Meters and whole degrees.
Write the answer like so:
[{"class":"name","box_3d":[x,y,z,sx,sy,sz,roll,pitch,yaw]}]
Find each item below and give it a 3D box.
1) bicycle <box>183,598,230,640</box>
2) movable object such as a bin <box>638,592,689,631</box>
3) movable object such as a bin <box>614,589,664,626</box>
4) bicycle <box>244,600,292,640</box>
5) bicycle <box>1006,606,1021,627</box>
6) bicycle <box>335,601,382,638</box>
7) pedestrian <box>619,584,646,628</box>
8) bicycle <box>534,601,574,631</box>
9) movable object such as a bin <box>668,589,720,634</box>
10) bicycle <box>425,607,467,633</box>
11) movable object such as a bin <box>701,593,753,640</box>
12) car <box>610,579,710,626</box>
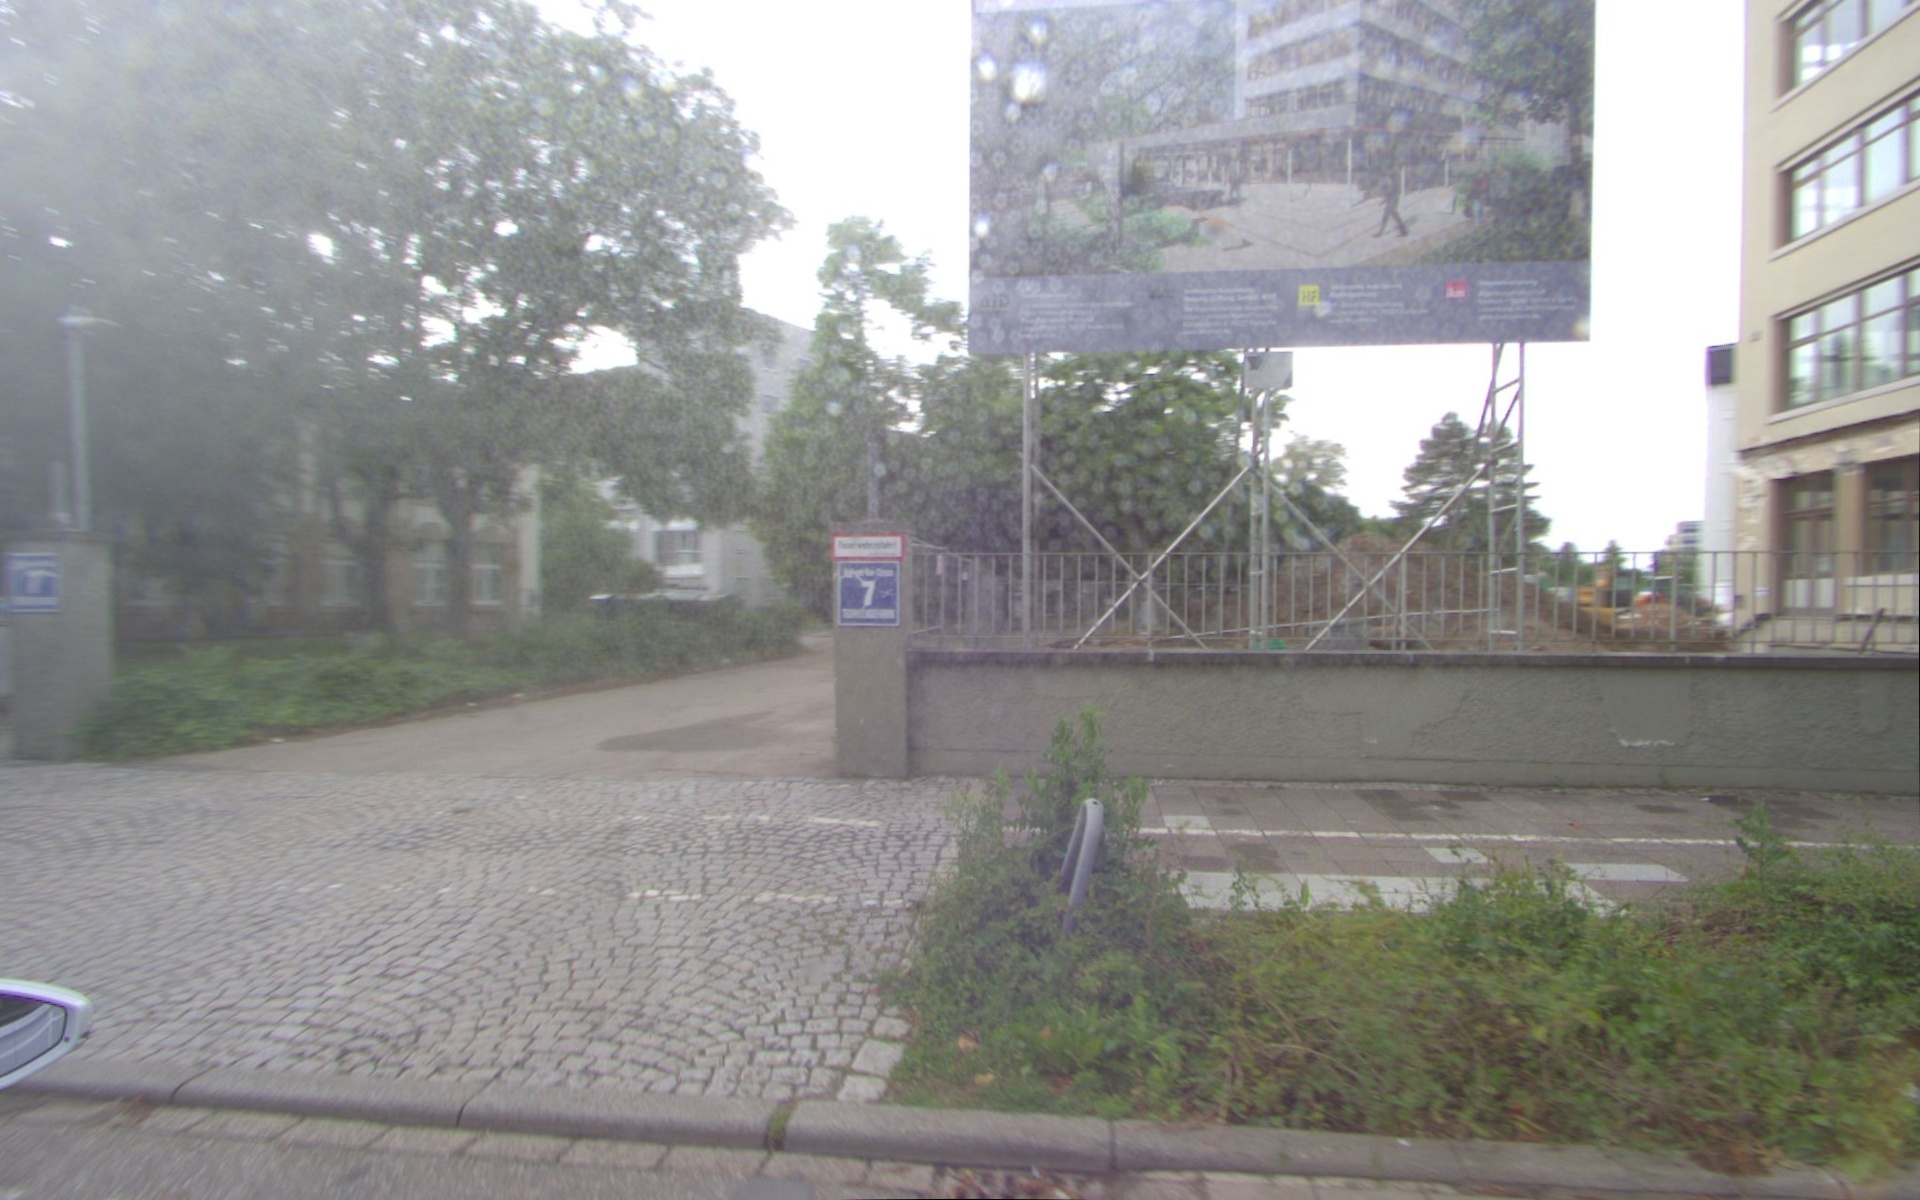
[{"class":"bicycle","box_3d":[-21.353,0.522,28.368,2.195,1.134,0.614,1,1,41]},{"class":"movable object such as a bin","box_3d":[-10.181,0.385,34.418,1.333,1.282,1.051,1,1,29]},{"class":"movable object such as a bin","box_3d":[-11.331,0.264,35.392,1.332,1.282,1.052,1,1,26]},{"class":"bicycle","box_3d":[-20.346,0.571,29.425,2.195,1.134,0.614,1,1,41]},{"class":"bicycle","box_3d":[2.449,0.758,45.693,0.412,0.918,1.152,1,1,17]},{"class":"bicycle","box_3d":[-19.007,0.603,31.630,2.195,1.134,0.614,1,1,41]},{"class":"pedestrian","box_3d":[-13.742,0.257,42.032,0.688,1.832,0.753,-1,0,30]},{"class":"bicycle","box_3d":[-15.055,0.579,37.143,1.802,1.079,0.394,1,1,33]},{"class":"movable object such as a bin","box_3d":[-8.937,0.392,33.628,1.333,1.475,1.051,0,0,29]},{"class":"bicycle","box_3d":[-17.448,0.671,33.965,1.922,0.824,0.614,1,1,41]},{"class":"movable object such as a bin","box_3d":[-7.624,0.522,32.743,1.339,1.470,1.047,3,2,43]},{"class":"car","box_3d":[-13.669,0.155,45.811,1.826,2.040,4.332,0,-1,29]}]
